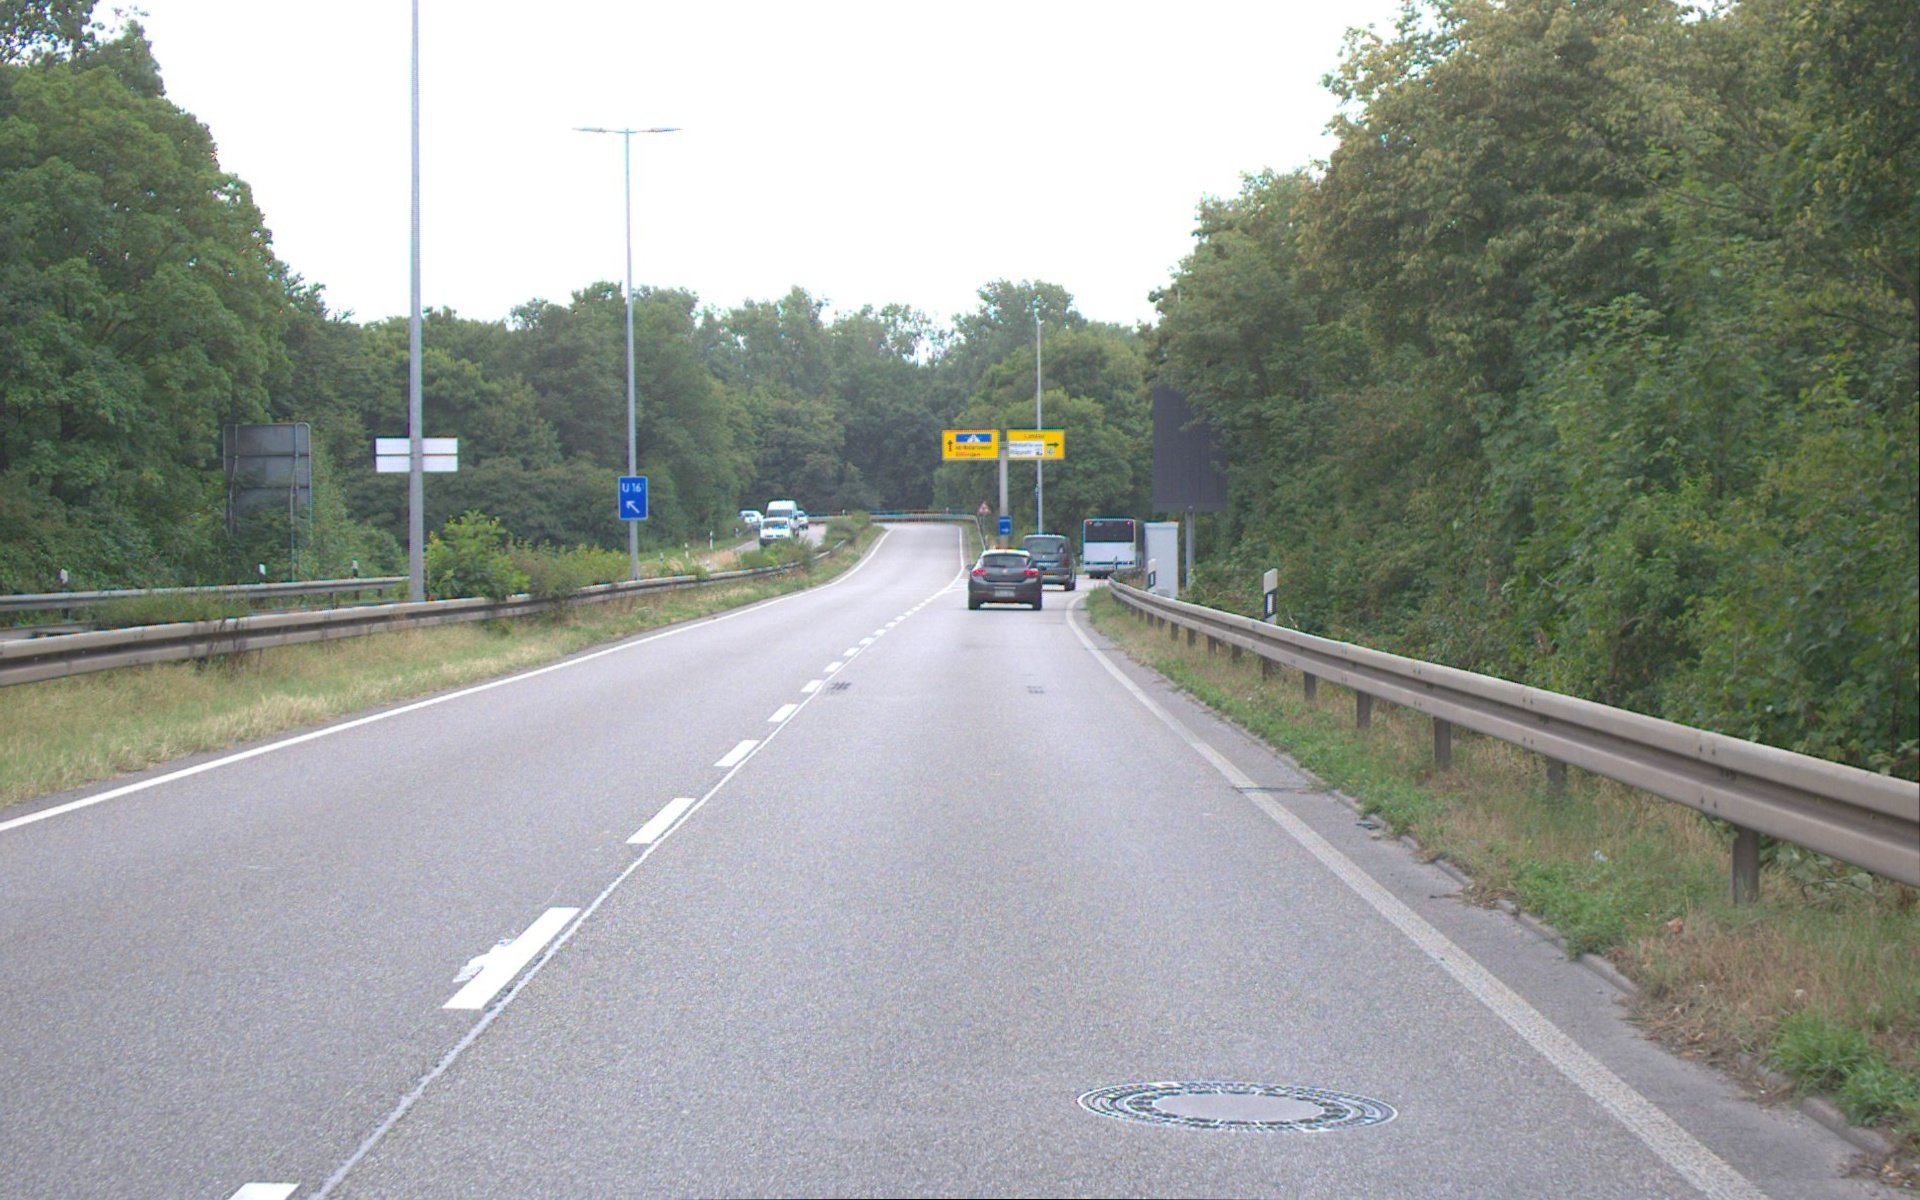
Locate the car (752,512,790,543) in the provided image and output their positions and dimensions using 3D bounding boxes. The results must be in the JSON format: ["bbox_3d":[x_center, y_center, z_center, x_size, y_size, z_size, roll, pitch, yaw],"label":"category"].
[{"bbox_3d":[-11.342,-4.368,206.754,1.993,1.840,4.000,0,2,1],"label":"car"}]

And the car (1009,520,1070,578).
[{"bbox_3d":[2.827,-1.809,122.580,2.148,2.007,4.000,0,0,1],"label":"car"}]

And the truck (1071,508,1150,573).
[{"bbox_3d":[7.060,-2.730,160.411,2.981,2.875,7.988,0,0,8],"label":"truck"}]

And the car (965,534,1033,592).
[{"bbox_3d":[0.981,-0.890,84.836,1.625,1.373,4.000,0,0,1],"label":"car"}]
